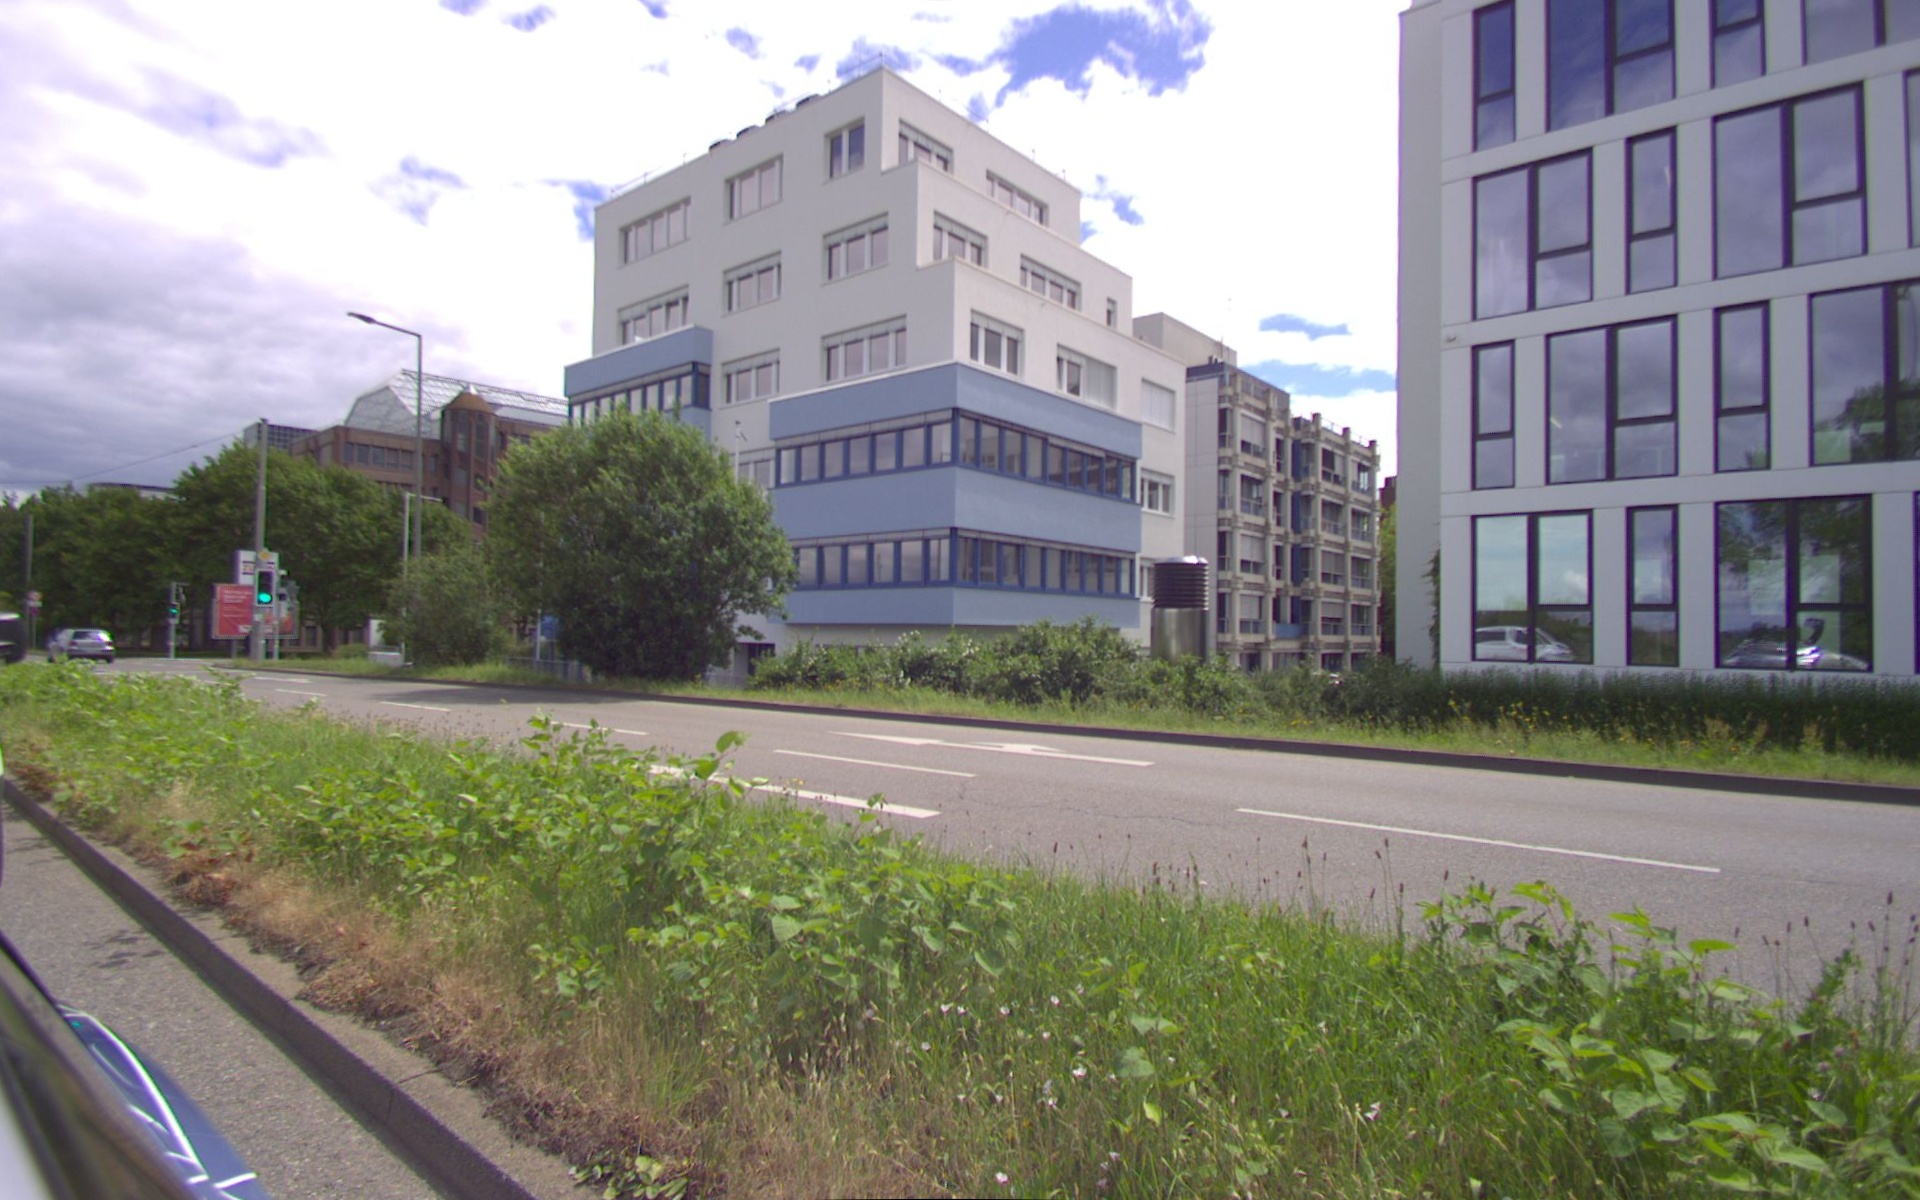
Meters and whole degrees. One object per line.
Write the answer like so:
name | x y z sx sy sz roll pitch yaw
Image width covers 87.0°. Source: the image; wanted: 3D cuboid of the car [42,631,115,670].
car | -37.161 2.085 42.646 3.445 1.515 1.631 -1 0 37

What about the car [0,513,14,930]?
car | -7.027 0.618 5.740 5.052 1.965 1.942 -2 -1 41
